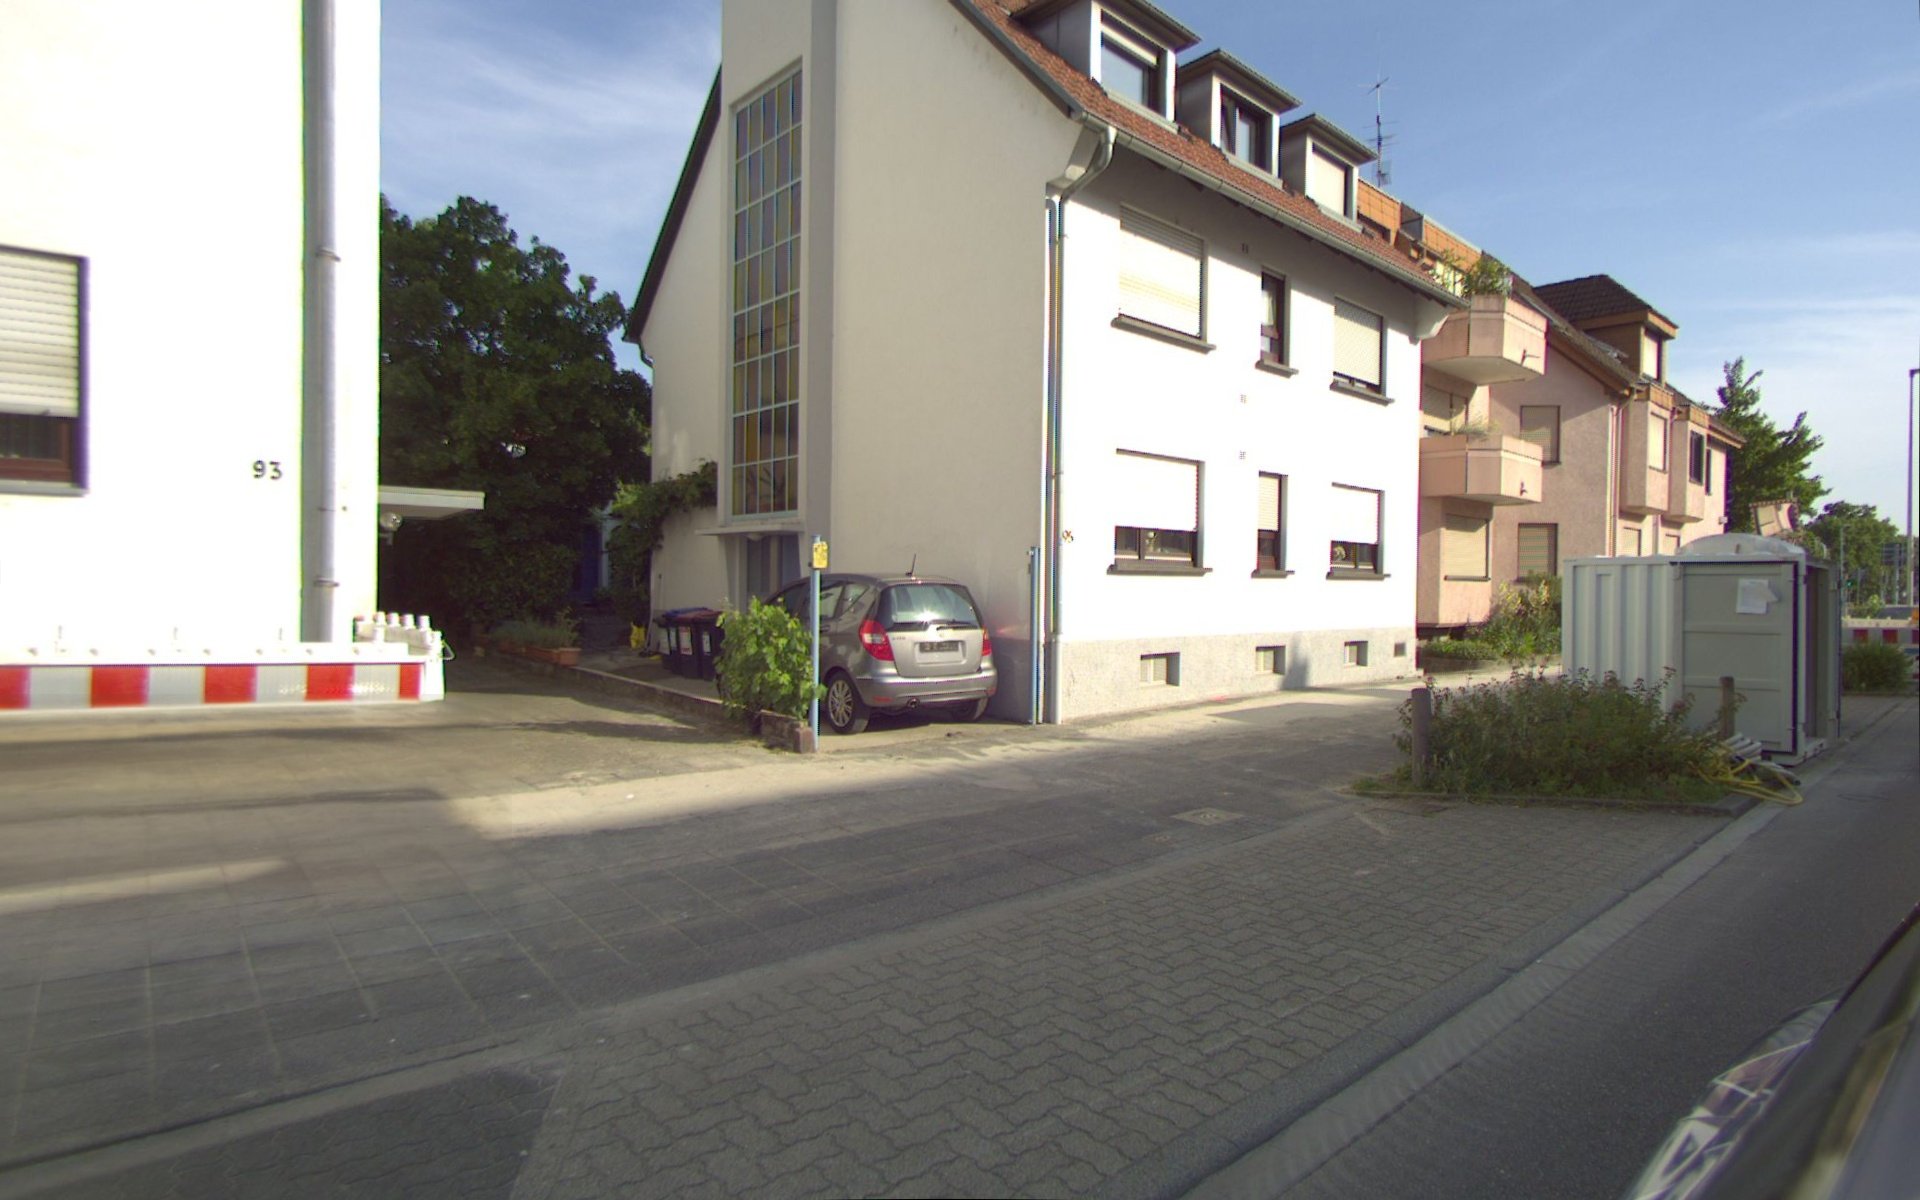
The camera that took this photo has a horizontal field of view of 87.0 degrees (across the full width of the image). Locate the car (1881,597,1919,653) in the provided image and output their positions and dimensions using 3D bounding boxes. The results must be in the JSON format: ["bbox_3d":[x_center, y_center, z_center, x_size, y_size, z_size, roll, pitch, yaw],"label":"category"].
[{"bbox_3d":[26.212,0.661,27.573,1.630,1.460,3.356,0,0,43],"label":"car"}]

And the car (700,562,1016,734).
[{"bbox_3d":[-1.281,0.421,11.308,1.762,1.586,3.749,0,0,-39],"label":"car"}]

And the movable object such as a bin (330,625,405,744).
[{"bbox_3d":[-5.071,0.703,8.679,0.528,0.957,0.519,1,0,-30],"label":"movable object such as a bin"}]

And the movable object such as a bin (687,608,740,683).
[{"bbox_3d":[-3.823,0.684,15.687,0.608,1.120,0.551,0,0,-41],"label":"movable object such as a bin"}]

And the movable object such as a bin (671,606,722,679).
[{"bbox_3d":[-4.189,0.659,16.100,0.608,1.120,0.551,0,0,-42],"label":"movable object such as a bin"}]

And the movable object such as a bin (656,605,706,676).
[{"bbox_3d":[-4.560,0.643,16.528,0.608,1.120,0.551,0,0,-42],"label":"movable object such as a bin"}]

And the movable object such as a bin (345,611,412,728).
[{"bbox_3d":[-5.543,0.644,9.654,0.528,1.063,0.519,1,0,-30],"label":"movable object such as a bin"}]

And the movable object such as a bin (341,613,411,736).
[{"bbox_3d":[-5.292,0.652,9.186,0.528,1.063,0.519,1,0,-30],"label":"movable object such as a bin"}]
